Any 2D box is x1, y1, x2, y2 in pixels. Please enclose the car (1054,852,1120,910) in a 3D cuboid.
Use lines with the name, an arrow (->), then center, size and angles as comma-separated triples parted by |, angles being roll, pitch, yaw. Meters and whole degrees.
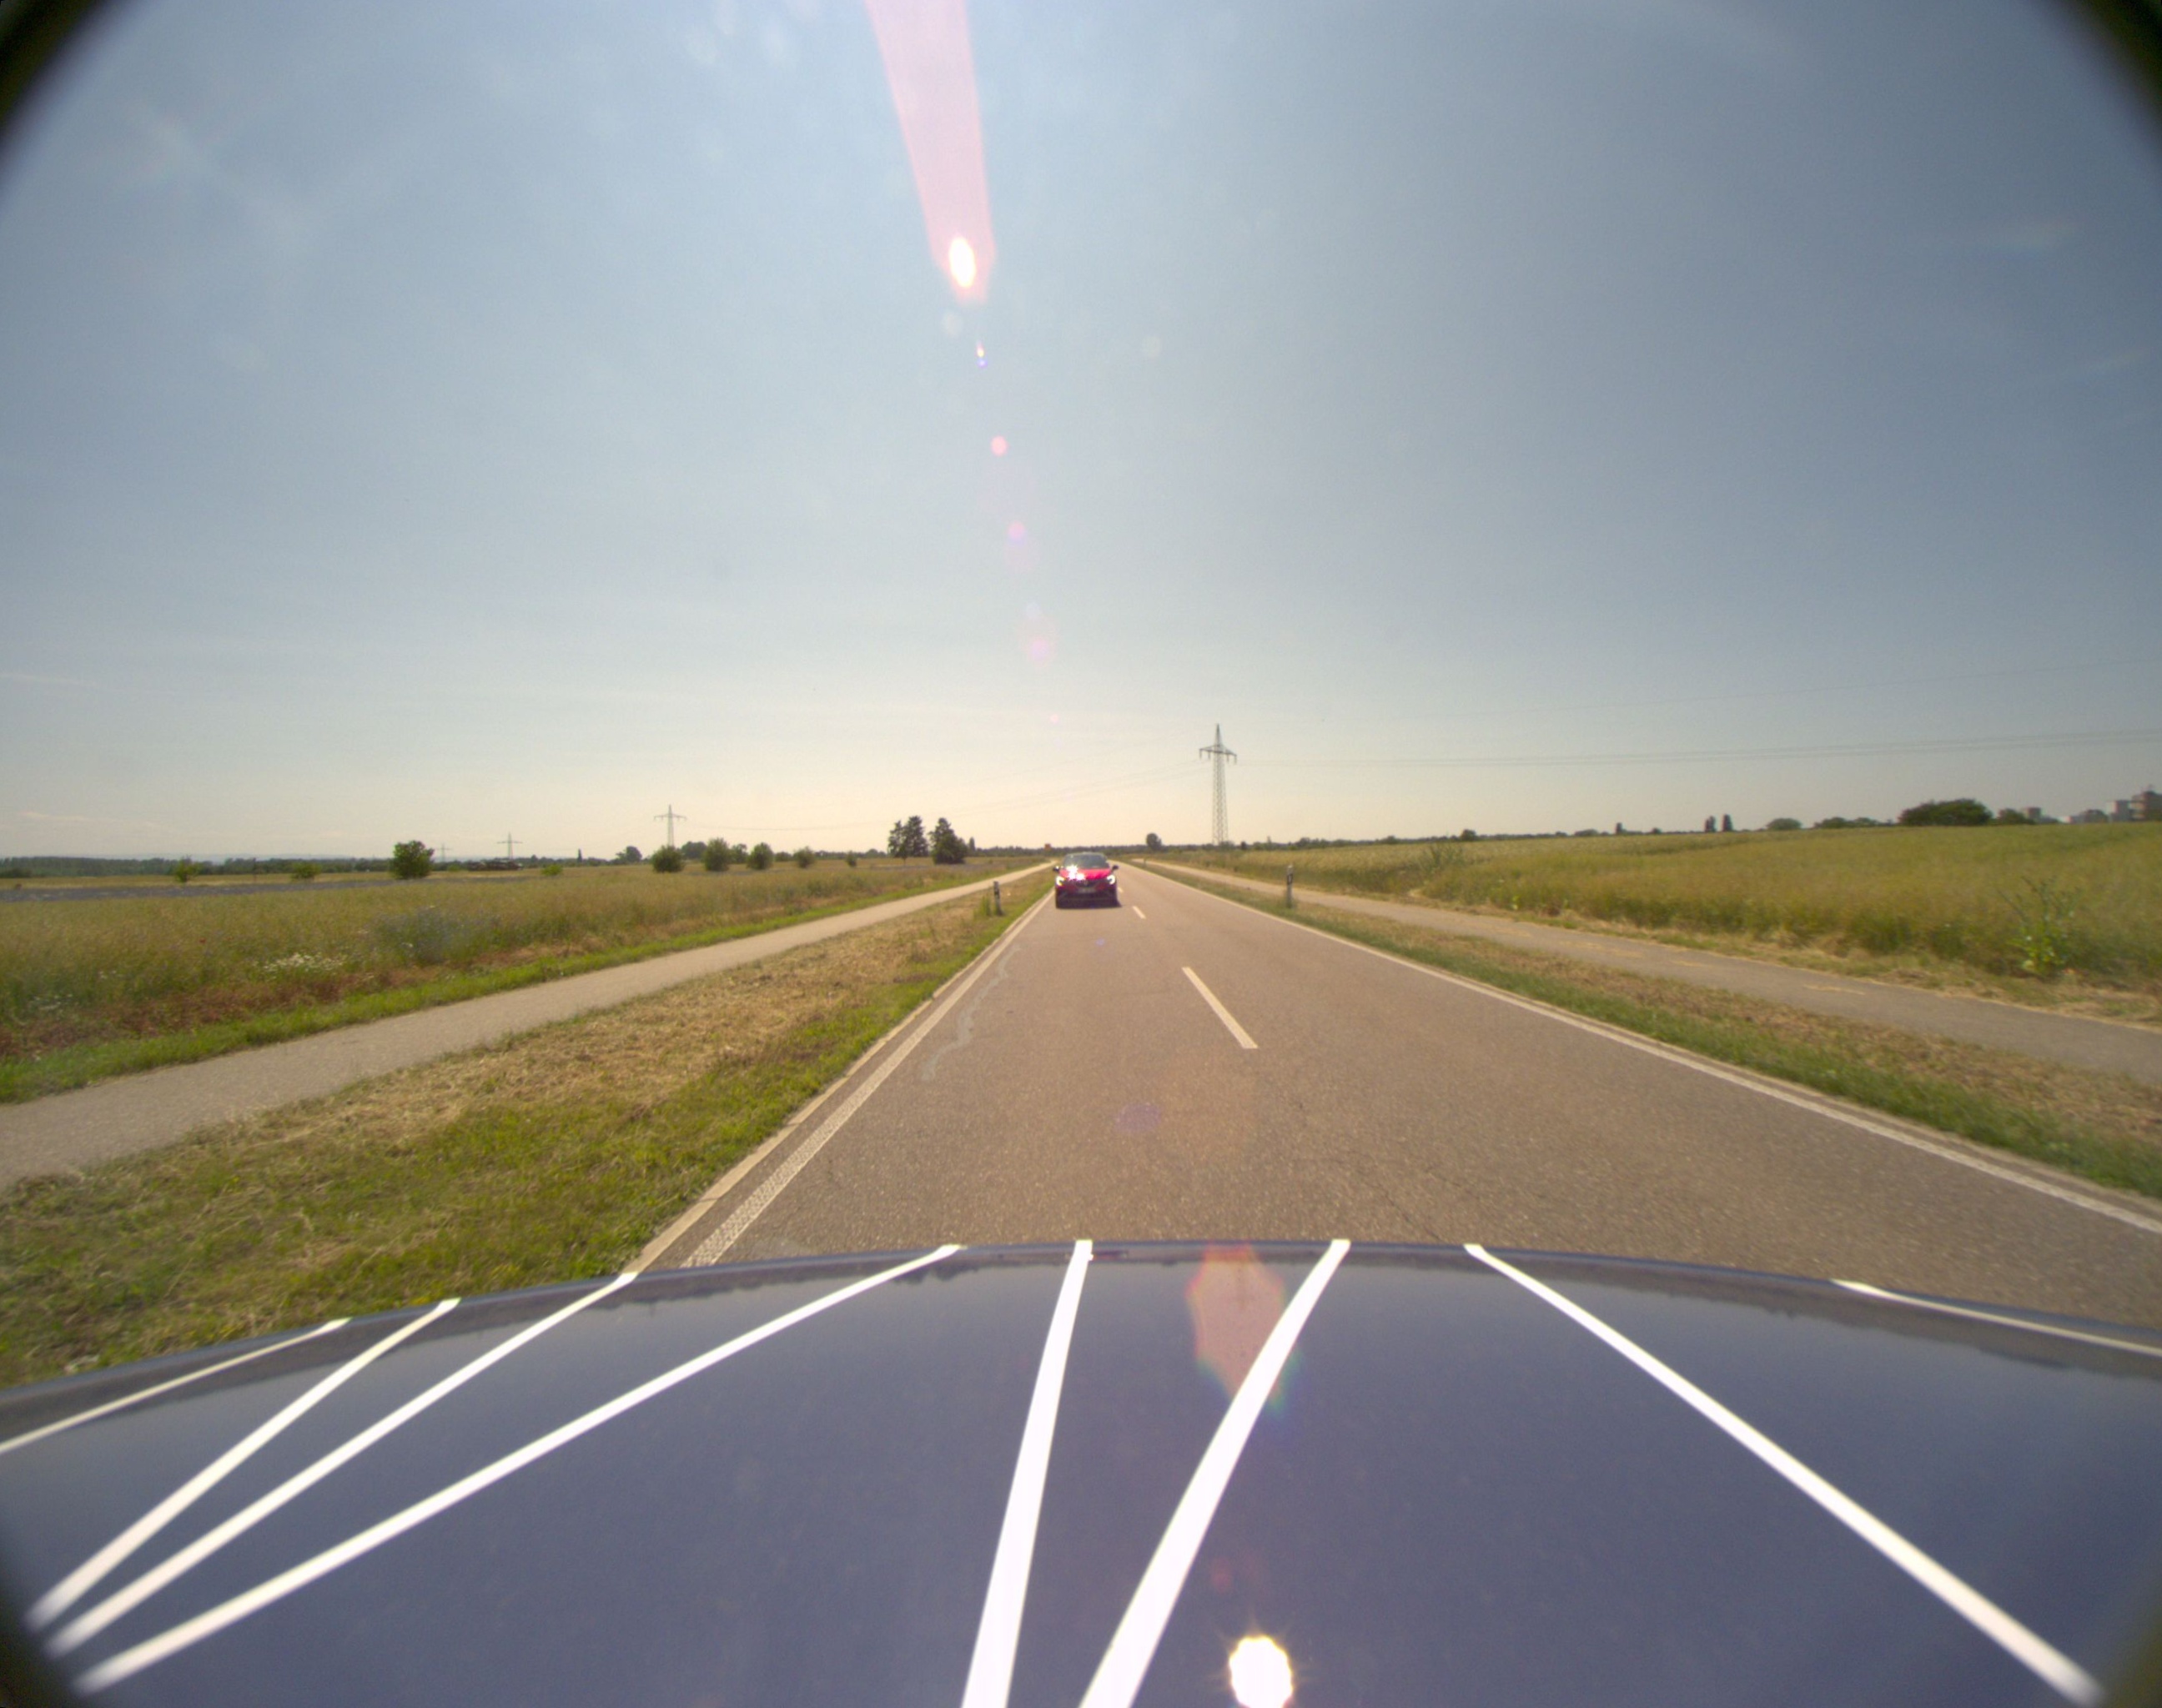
car -> 0.178, 0.768, 23.839 | 1.827, 1.543, 4.448 | -2, 1, 0

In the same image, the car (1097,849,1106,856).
car -> 4.258, -0.316, 155.943 | 1.752, 1.392, 4.031 | -2, 1, 1
